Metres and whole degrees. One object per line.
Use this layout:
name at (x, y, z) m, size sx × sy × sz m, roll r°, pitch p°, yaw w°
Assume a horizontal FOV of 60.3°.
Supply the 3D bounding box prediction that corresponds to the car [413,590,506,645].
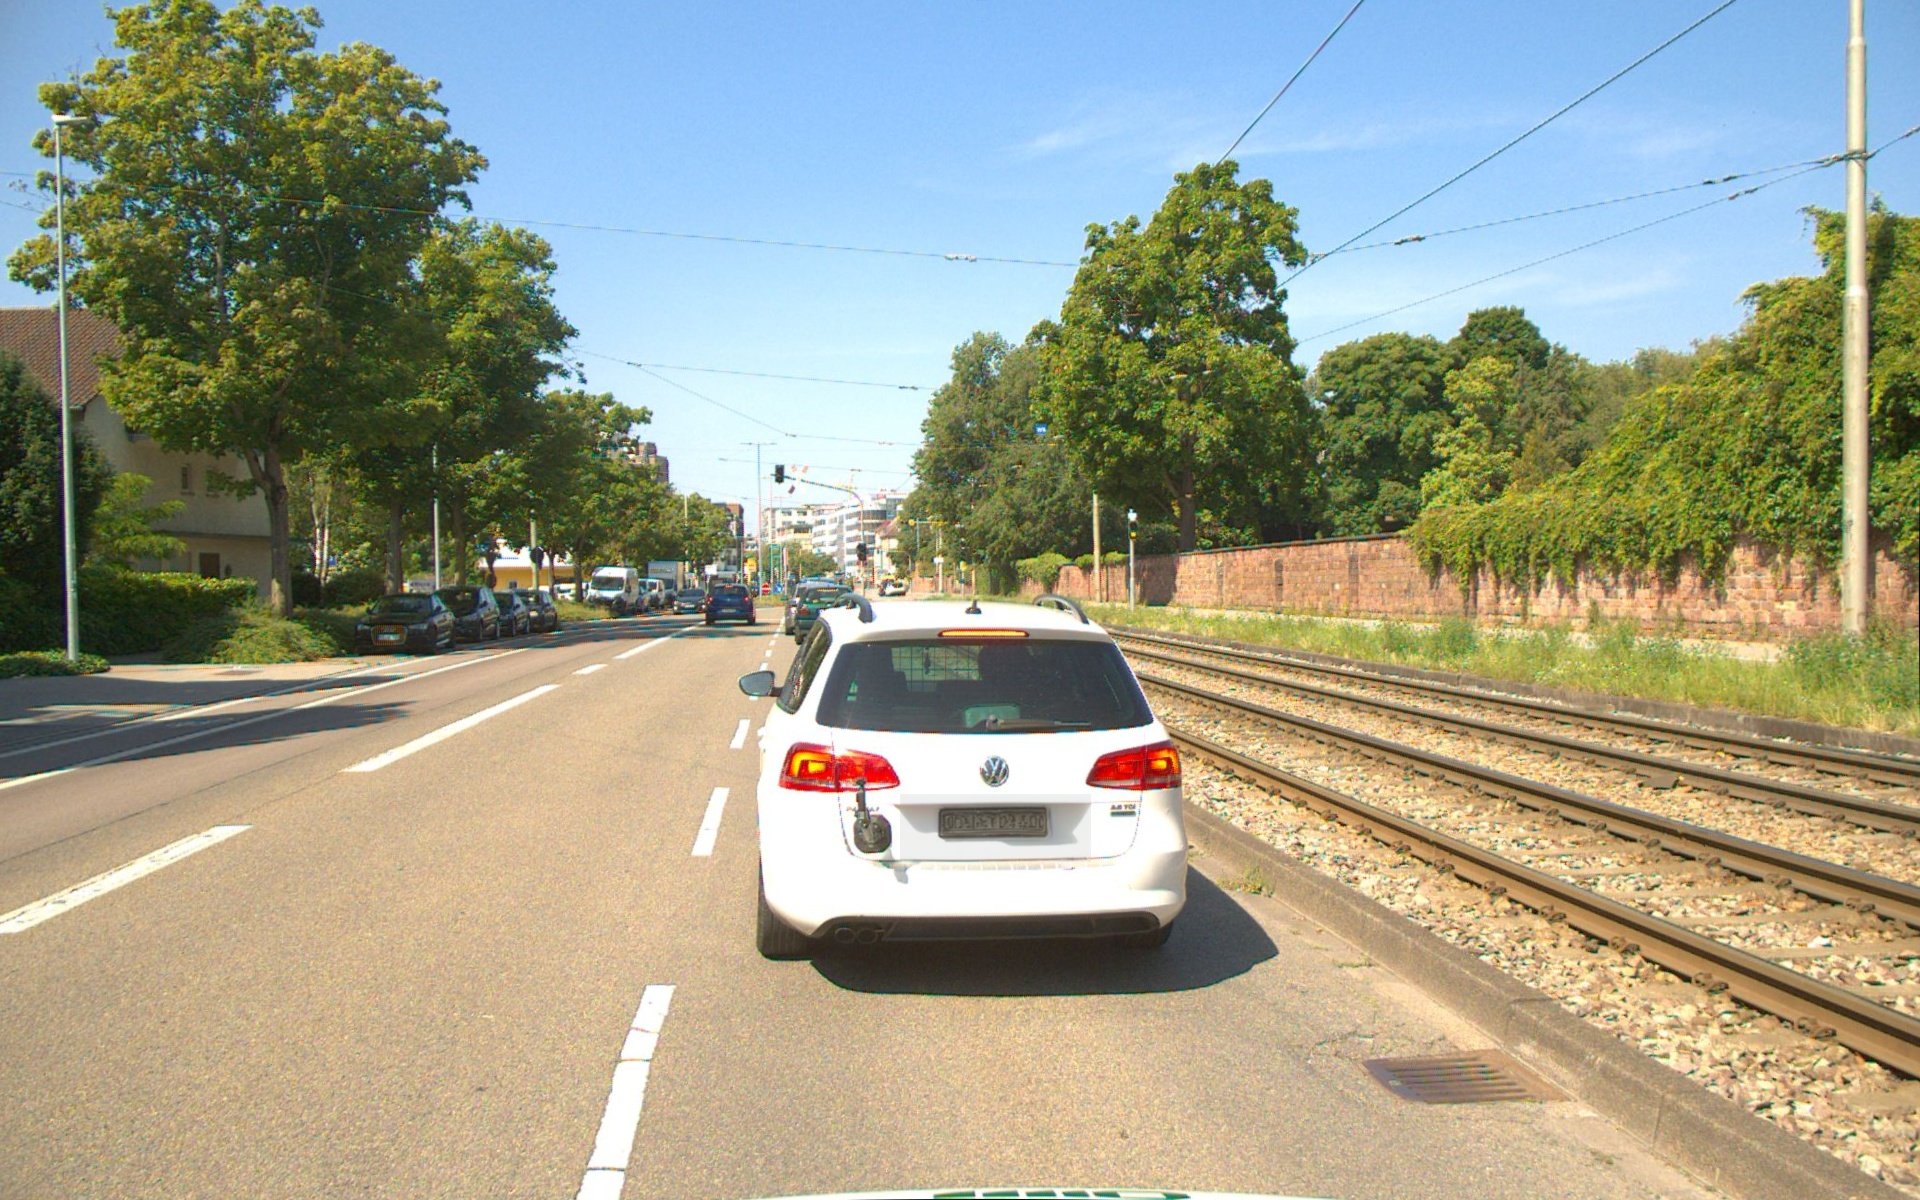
car at (-14.754, 0.491, 48.940) m, size 1.665 × 1.507 × 3.998 m, roll -1°, pitch 1°, yaw -2°

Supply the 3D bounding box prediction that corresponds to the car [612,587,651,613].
car at (-18.655, -0.023, 93.978) m, size 1.666 × 1.427 × 3.997 m, roll -1°, pitch 1°, yaw -4°

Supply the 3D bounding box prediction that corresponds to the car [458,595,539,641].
car at (-15.112, 0.556, 54.336) m, size 1.665 × 1.375 × 3.998 m, roll -1°, pitch 1°, yaw -2°

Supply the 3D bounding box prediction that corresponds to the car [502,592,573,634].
car at (-15.176, 0.441, 59.634) m, size 1.665 × 1.375 × 3.998 m, roll -1°, pitch 1°, yaw -2°

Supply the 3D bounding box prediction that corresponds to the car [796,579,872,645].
car at (-3.178, 0.255, 41.183) m, size 1.766 × 1.533 × 3.995 m, roll 0°, pitch 1°, yaw -6°

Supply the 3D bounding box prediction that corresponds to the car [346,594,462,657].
car at (-13.879, 0.601, 41.512) m, size 1.665 × 1.441 × 3.998 m, roll -1°, pitch 1°, yaw -2°

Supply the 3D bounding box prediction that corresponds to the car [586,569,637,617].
car at (-18.580, -0.395, 88.366) m, size 1.842 × 2.458 × 5.114 m, roll -1°, pitch 1°, yaw -2°

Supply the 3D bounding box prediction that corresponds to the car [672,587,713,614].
car at (-13.760, 0.004, 85.248) m, size 1.666 × 1.295 × 3.997 m, roll -1°, pitch 1°, yaw -4°

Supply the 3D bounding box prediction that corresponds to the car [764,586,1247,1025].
car at (-0.082, 0.693, 8.048) m, size 1.659 × 1.476 × 4.451 m, roll -1°, pitch 1°, yaw -8°

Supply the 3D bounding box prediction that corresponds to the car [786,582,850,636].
car at (-4.184, 0.218, 48.213) m, size 1.766 × 1.485 × 3.995 m, roll 0°, pitch 1°, yaw -6°

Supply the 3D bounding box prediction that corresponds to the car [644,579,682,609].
car at (-19.536, -0.440, 108.881) m, size 1.789 × 1.899 × 4.722 m, roll -1°, pitch 1°, yaw -2°

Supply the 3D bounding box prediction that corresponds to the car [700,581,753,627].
car at (-8.419, 0.116, 59.925) m, size 1.766 × 1.533 × 3.995 m, roll 0°, pitch 2°, yaw -6°
